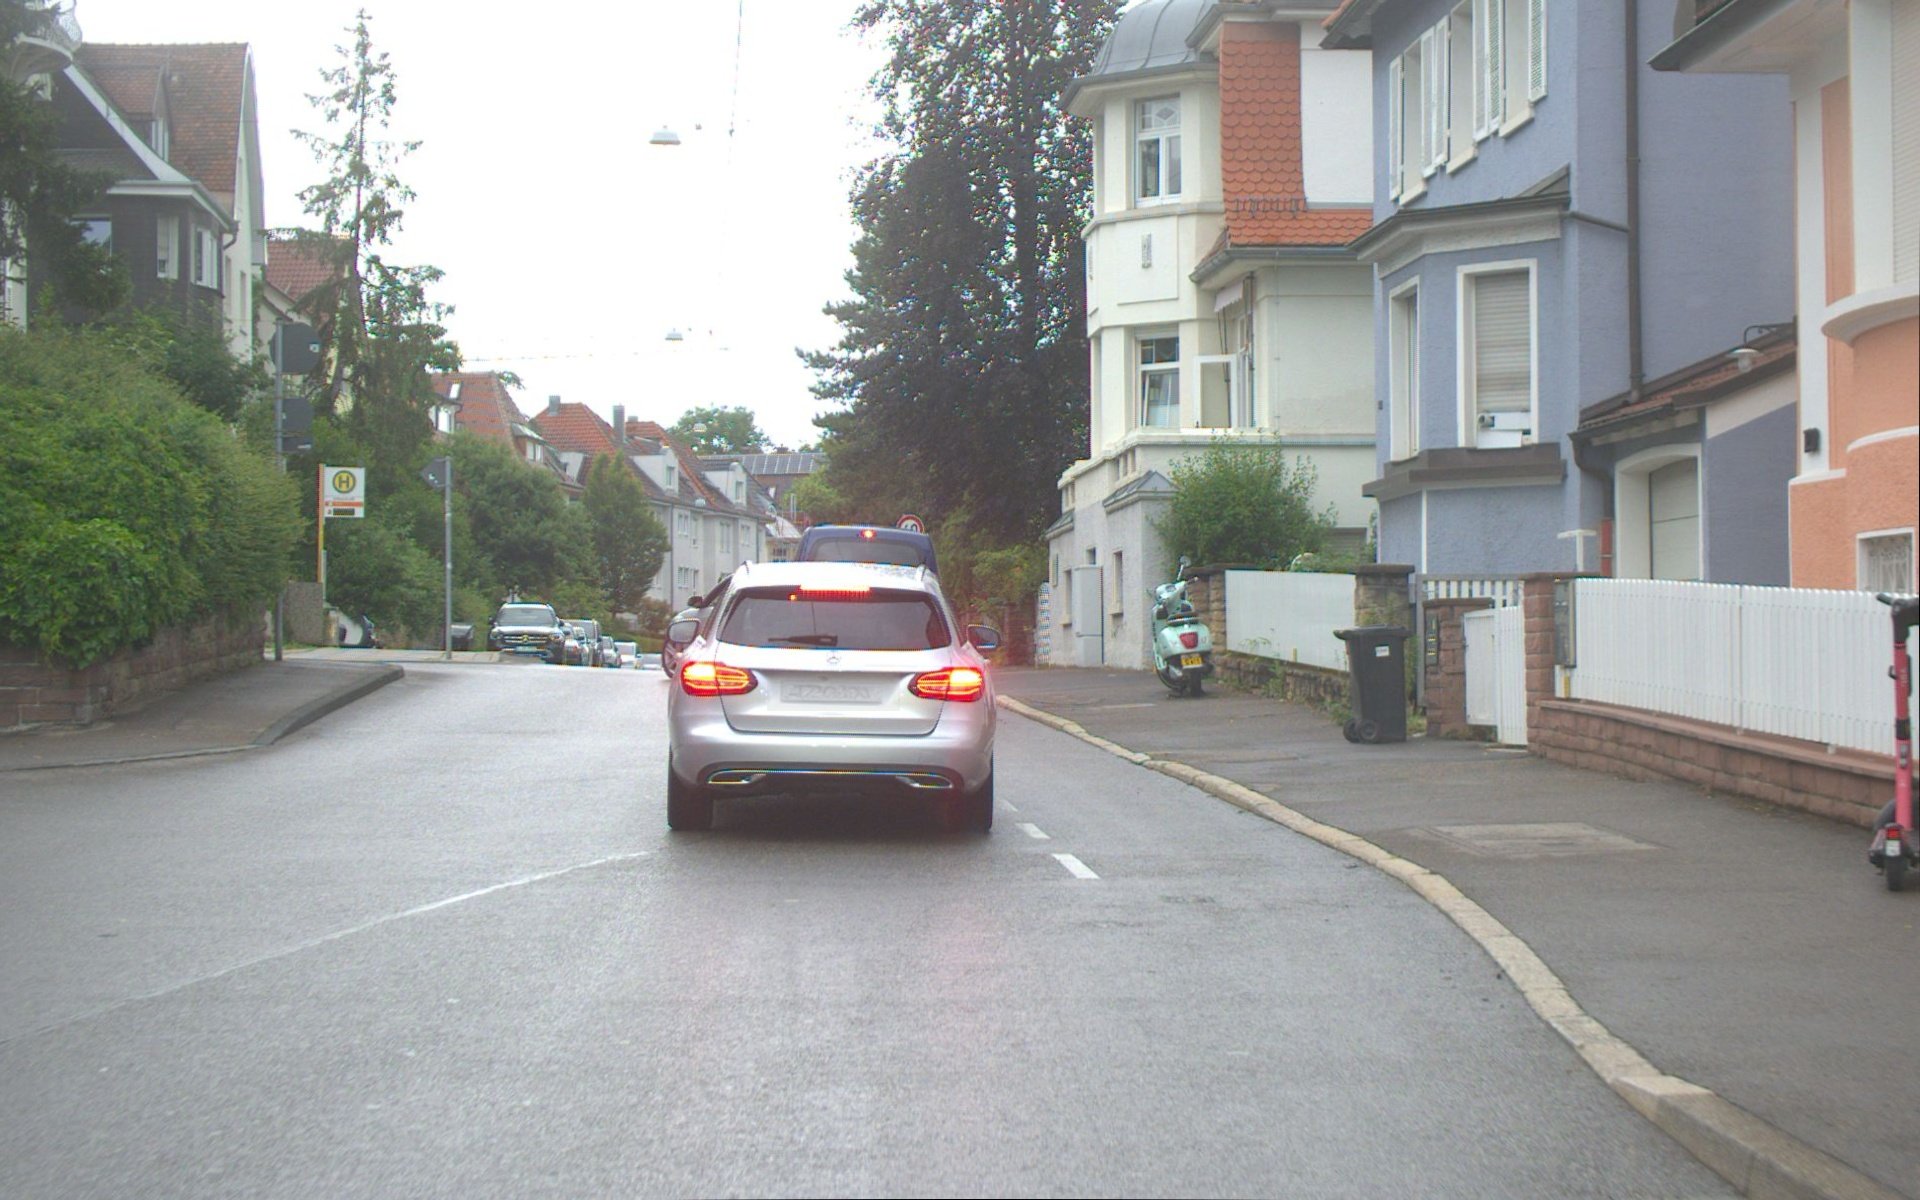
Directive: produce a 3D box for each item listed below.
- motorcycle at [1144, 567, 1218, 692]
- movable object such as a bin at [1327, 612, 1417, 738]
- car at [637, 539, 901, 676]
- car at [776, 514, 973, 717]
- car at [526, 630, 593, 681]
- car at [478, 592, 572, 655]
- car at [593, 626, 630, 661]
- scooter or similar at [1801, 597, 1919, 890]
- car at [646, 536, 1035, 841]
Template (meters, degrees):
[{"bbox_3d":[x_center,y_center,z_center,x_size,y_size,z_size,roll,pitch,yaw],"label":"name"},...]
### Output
[{"bbox_3d":[2.345,0.291,36.664,0.582,1.257,2.331,-2,1,0],"label":"motorcycle"},{"bbox_3d":[3.229,0.584,26.978,0.549,0.932,0.634,-3,1,-3],"label":"movable object such as a bin"},{"bbox_3d":[-2.368,0.052,41.348,1.993,1.534,4.334,1,1,-20],"label":"car"},{"bbox_3d":[-0.840,0.104,34.501,1.824,1.876,4.095,-1,1,-1],"label":"car"},{"bbox_3d":[-11.567,1.591,99.374,1.757,1.309,3.684,1,1,-5],"label":"car"},{"bbox_3d":[-10.702,0.562,84.803,2.116,1.466,4.018,0,1,-5],"label":"car"},{"bbox_3d":[-14.266,1.779,140.773,1.428,1.309,3.407,-1,1,-5],"label":"car"},{"bbox_3d":[4.185,0.609,15.214,0.693,1.220,1.299,0,1,5],"label":"scooter or similar"},{"bbox_3d":[-0.696,0.423,19.855,1.982,1.548,4.298,1,1,-2],"label":"car"}]
